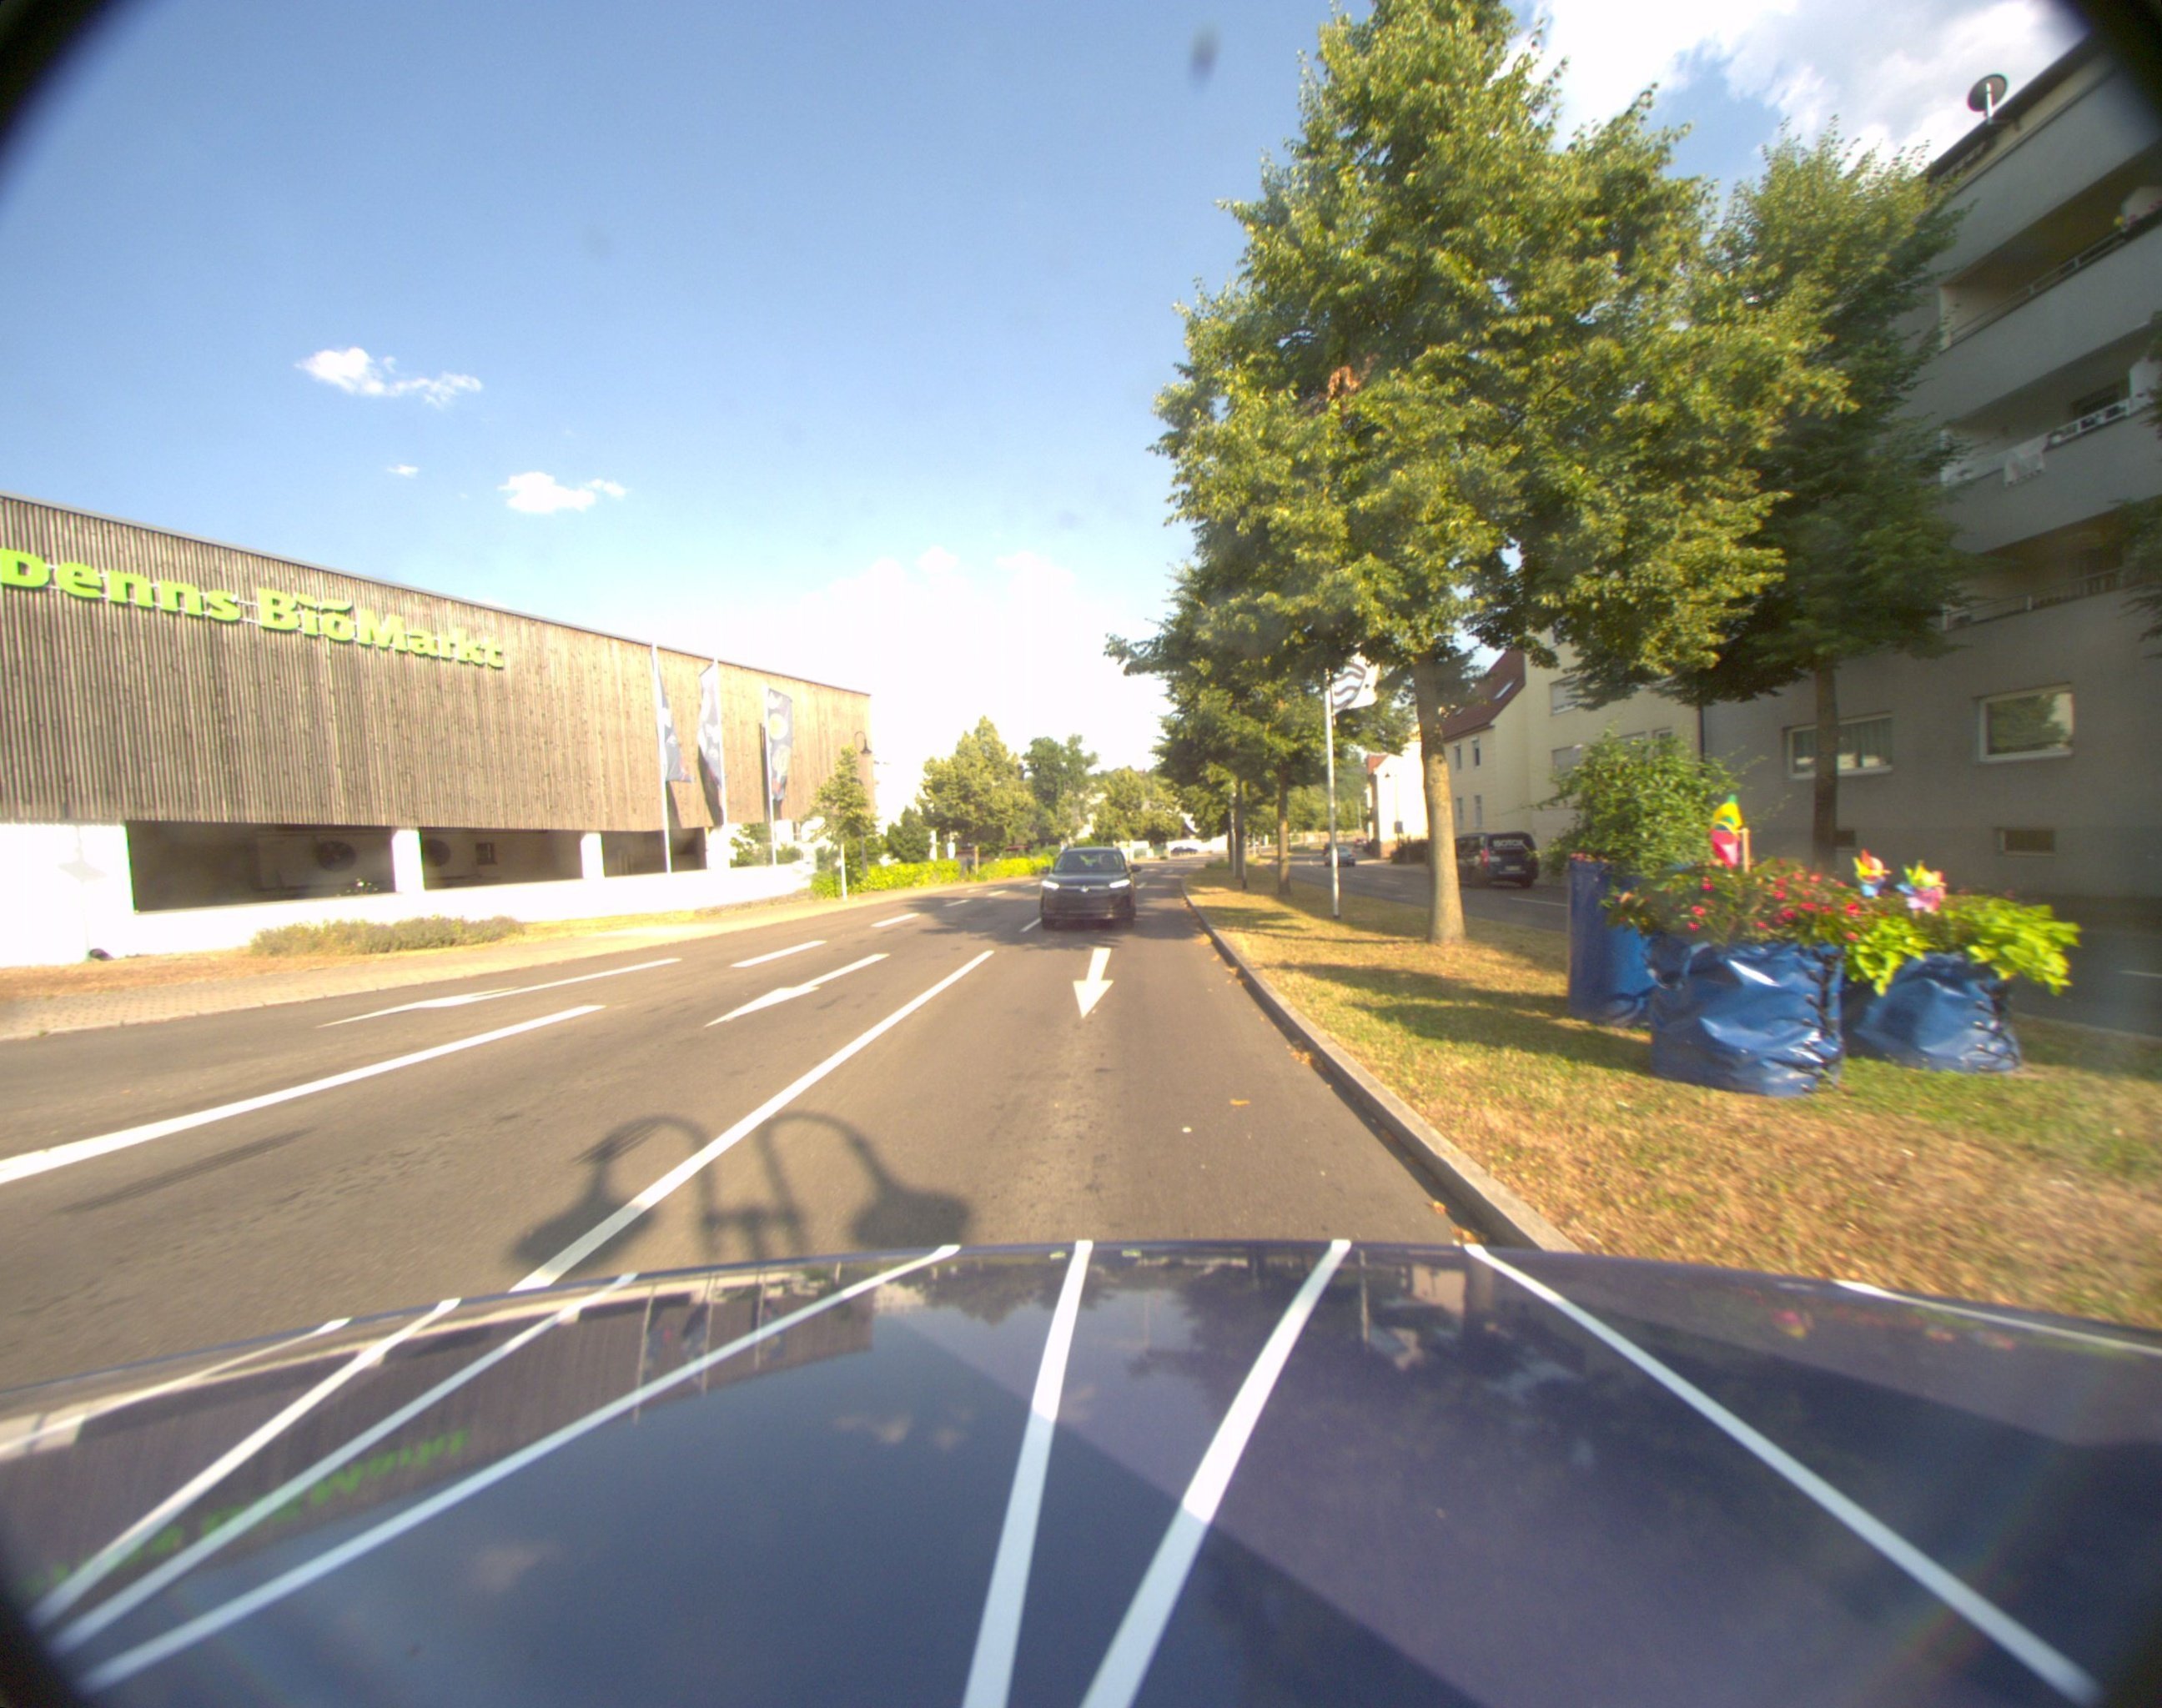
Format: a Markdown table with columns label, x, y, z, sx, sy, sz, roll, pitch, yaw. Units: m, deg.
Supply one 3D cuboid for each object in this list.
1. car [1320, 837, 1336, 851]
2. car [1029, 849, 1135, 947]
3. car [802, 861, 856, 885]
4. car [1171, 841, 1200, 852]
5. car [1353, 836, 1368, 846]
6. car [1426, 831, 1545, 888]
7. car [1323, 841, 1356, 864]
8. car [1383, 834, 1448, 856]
| label | x | y | z | sx | sy | sz | roll | pitch | yaw |
| --- | --- | --- | --- | --- | --- | --- | --- | --- | --- |
| car | 27.678 | -1.130 | 85.109 | 1.607 | 1.477 | 3.788 | -1 | 1 | 18 |
| car | 0.169 | 0.755 | 15.351 | 1.724 | 1.605 | 4.262 | -1 | 1 | 5 |
| car | -21.796 | 1.626 | 65.836 | 1.891 | 1.713 | 4.322 | -5 | -1 | 24 |
| car | 15.610 | -1.180 | 113.827 | 3.829 | 1.412 | 1.941 | -3 | 1 | 24 |
| car | 41.565 | -1.951 | 112.931 | 1.941 | 1.477 | 4.331 | -1 | 1 | 23 |
| car | 13.680 | 0.128 | 26.051 | 1.856 | 1.726 | 4.924 | -1 | 1 | 6 |
| car | 18.759 | -0.135 | 55.309 | 1.855 | 1.477 | 5.001 | -1 | 1 | 15 |
| car | 25.676 | -0.680 | 58.319 | 4.350 | 1.477 | 2.015 | -3 | 1 | 28 |
